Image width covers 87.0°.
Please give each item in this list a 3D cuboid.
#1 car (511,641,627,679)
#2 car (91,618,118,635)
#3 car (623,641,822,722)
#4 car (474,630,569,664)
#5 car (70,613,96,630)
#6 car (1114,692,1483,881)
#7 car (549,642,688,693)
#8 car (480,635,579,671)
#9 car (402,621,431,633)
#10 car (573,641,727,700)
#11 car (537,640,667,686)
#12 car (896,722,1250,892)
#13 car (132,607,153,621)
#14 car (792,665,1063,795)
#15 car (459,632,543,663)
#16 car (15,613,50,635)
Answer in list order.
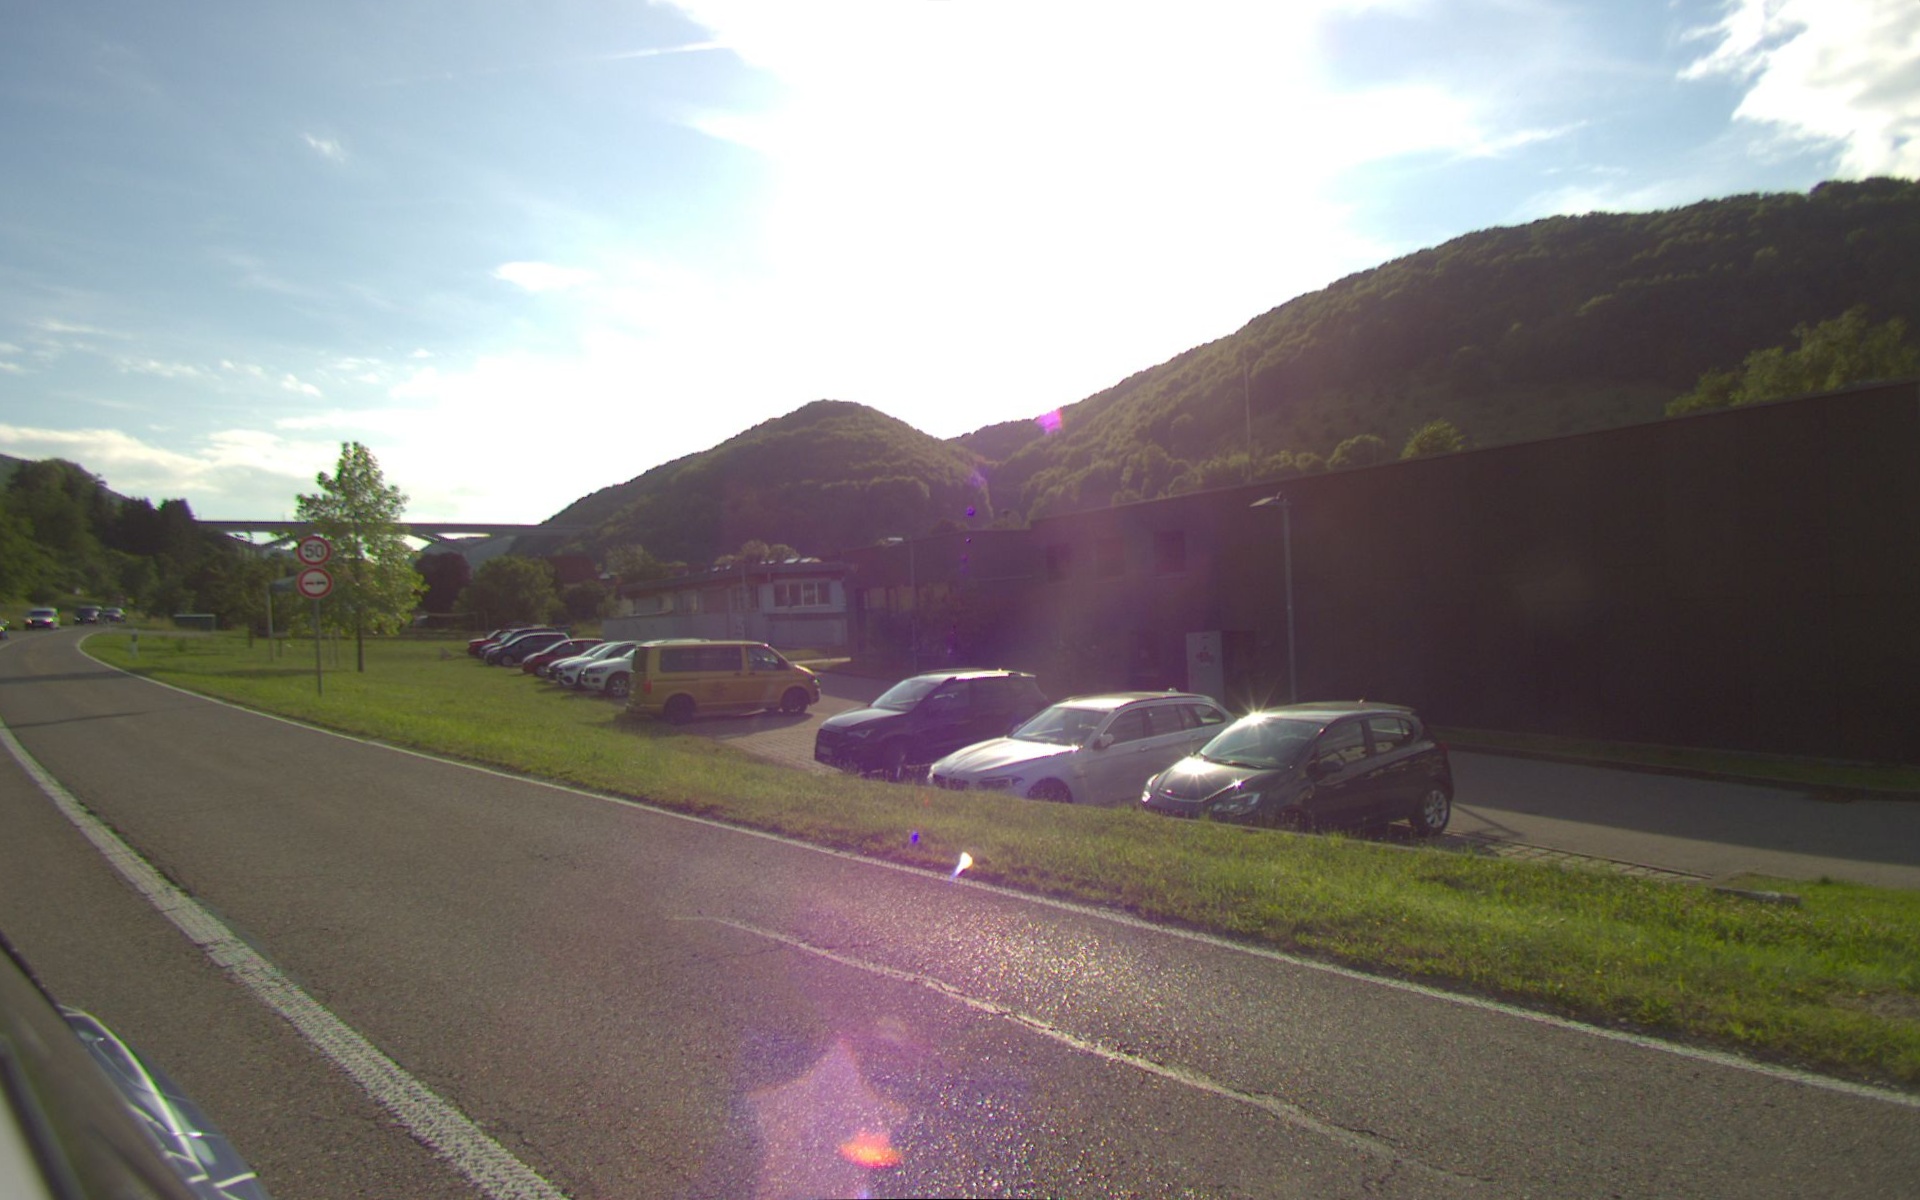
[{"bbox_3d":[-16.605,2.510,42.999,4.370,1.463,2.006,0,-2,-30],"label":"car"},{"bbox_3d":[-98.695,3.032,116.782,1.967,1.730,4.010,-2,-1,-35],"label":"car"},{"bbox_3d":[-6.041,2.005,25.879,4.583,1.827,2.006,0,-2,-30],"label":"car"},{"bbox_3d":[-24.202,2.550,55.896,4.595,1.776,2.006,0,-2,-31],"label":"car"},{"bbox_3d":[-90.200,2.213,104.139,1.652,1.659,3.354,-1,-1,-35],"label":"car"},{"bbox_3d":[3.869,1.940,11.460,3.932,1.546,1.839,0,-2,-31],"label":"car"},{"bbox_3d":[-12.101,2.341,35.882,4.370,1.599,2.006,0,-2,-30],"label":"car"},{"bbox_3d":[-21.956,2.671,51.624,4.371,1.595,2.006,-1,-1,-31],"label":"car"},{"bbox_3d":[-71.173,3.498,132.597,1.967,1.539,4.784,0,-1,-11],"label":"car"},{"bbox_3d":[-10.078,2.246,33.011,4.477,1.714,2.006,0,-2,-30],"label":"car"},{"bbox_3d":[-13.727,2.391,38.850,4.371,1.595,2.006,1,-2,-32],"label":"car"},{"bbox_3d":[1.599,2.592,13.557,4.577,1.508,1.918,1,-2,-34],"label":"car"},{"bbox_3d":[-113.915,1.939,140.980,1.880,1.918,4.011,0,0,-33],"label":"car"},{"bbox_3d":[-0.500,2.087,17.262,4.226,1.650,1.917,-2,-1,-35],"label":"car"},{"bbox_3d":[-27.308,2.788,60.231,4.371,1.733,2.006,0,-2,-31],"label":"car"},{"bbox_3d":[-76.040,1.978,82.993,1.771,1.749,4.291,0,-1,-38],"label":"car"}]
